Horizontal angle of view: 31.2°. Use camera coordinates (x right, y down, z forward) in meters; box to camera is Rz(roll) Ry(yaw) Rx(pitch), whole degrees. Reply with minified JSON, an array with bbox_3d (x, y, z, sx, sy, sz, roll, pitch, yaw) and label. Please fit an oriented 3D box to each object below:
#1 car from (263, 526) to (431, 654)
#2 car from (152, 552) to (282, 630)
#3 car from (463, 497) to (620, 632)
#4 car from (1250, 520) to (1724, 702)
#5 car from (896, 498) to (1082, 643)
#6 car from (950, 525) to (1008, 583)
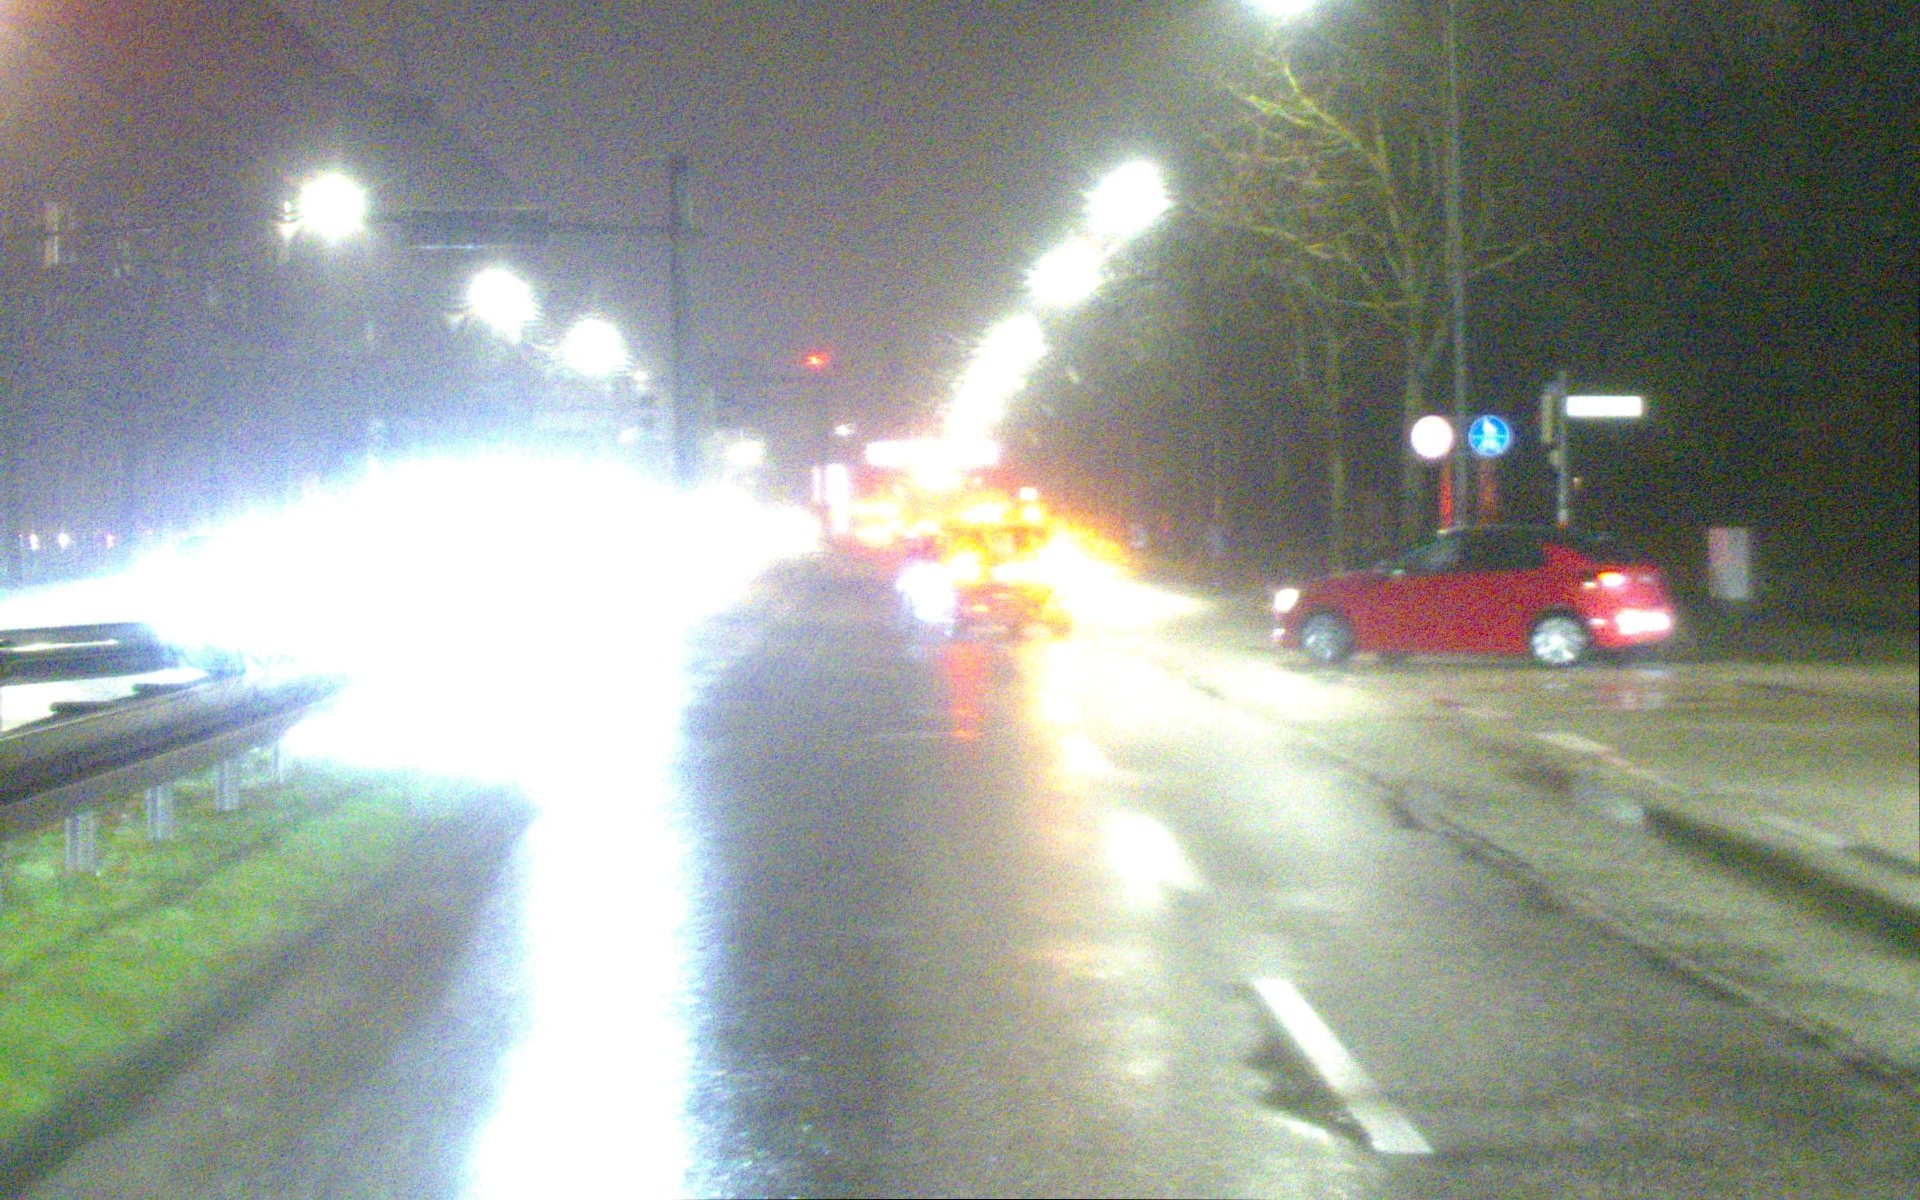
[{"bbox_3d":[-9.107,-0.163,51.326,1.783,1.809,4.000,-1,1,0],"label":"car"},{"bbox_3d":[-15.593,-0.195,72.336,1.847,1.585,4.353,0,0,-1],"label":"car"},{"bbox_3d":[-6.511,-0.562,53.889,1.993,2.007,4.000,-1,1,-1],"label":"car"},{"bbox_3d":[5.346,0.085,34.998,4.346,1.749,1.981,0,0,30],"label":"car"},{"bbox_3d":[0.336,-0.381,45.117,1.681,1.831,3.430,0,0,-13],"label":"car"},{"bbox_3d":[0.744,-1.780,134.313,2.208,2.207,3.643,0,0,0],"label":"car"}]
